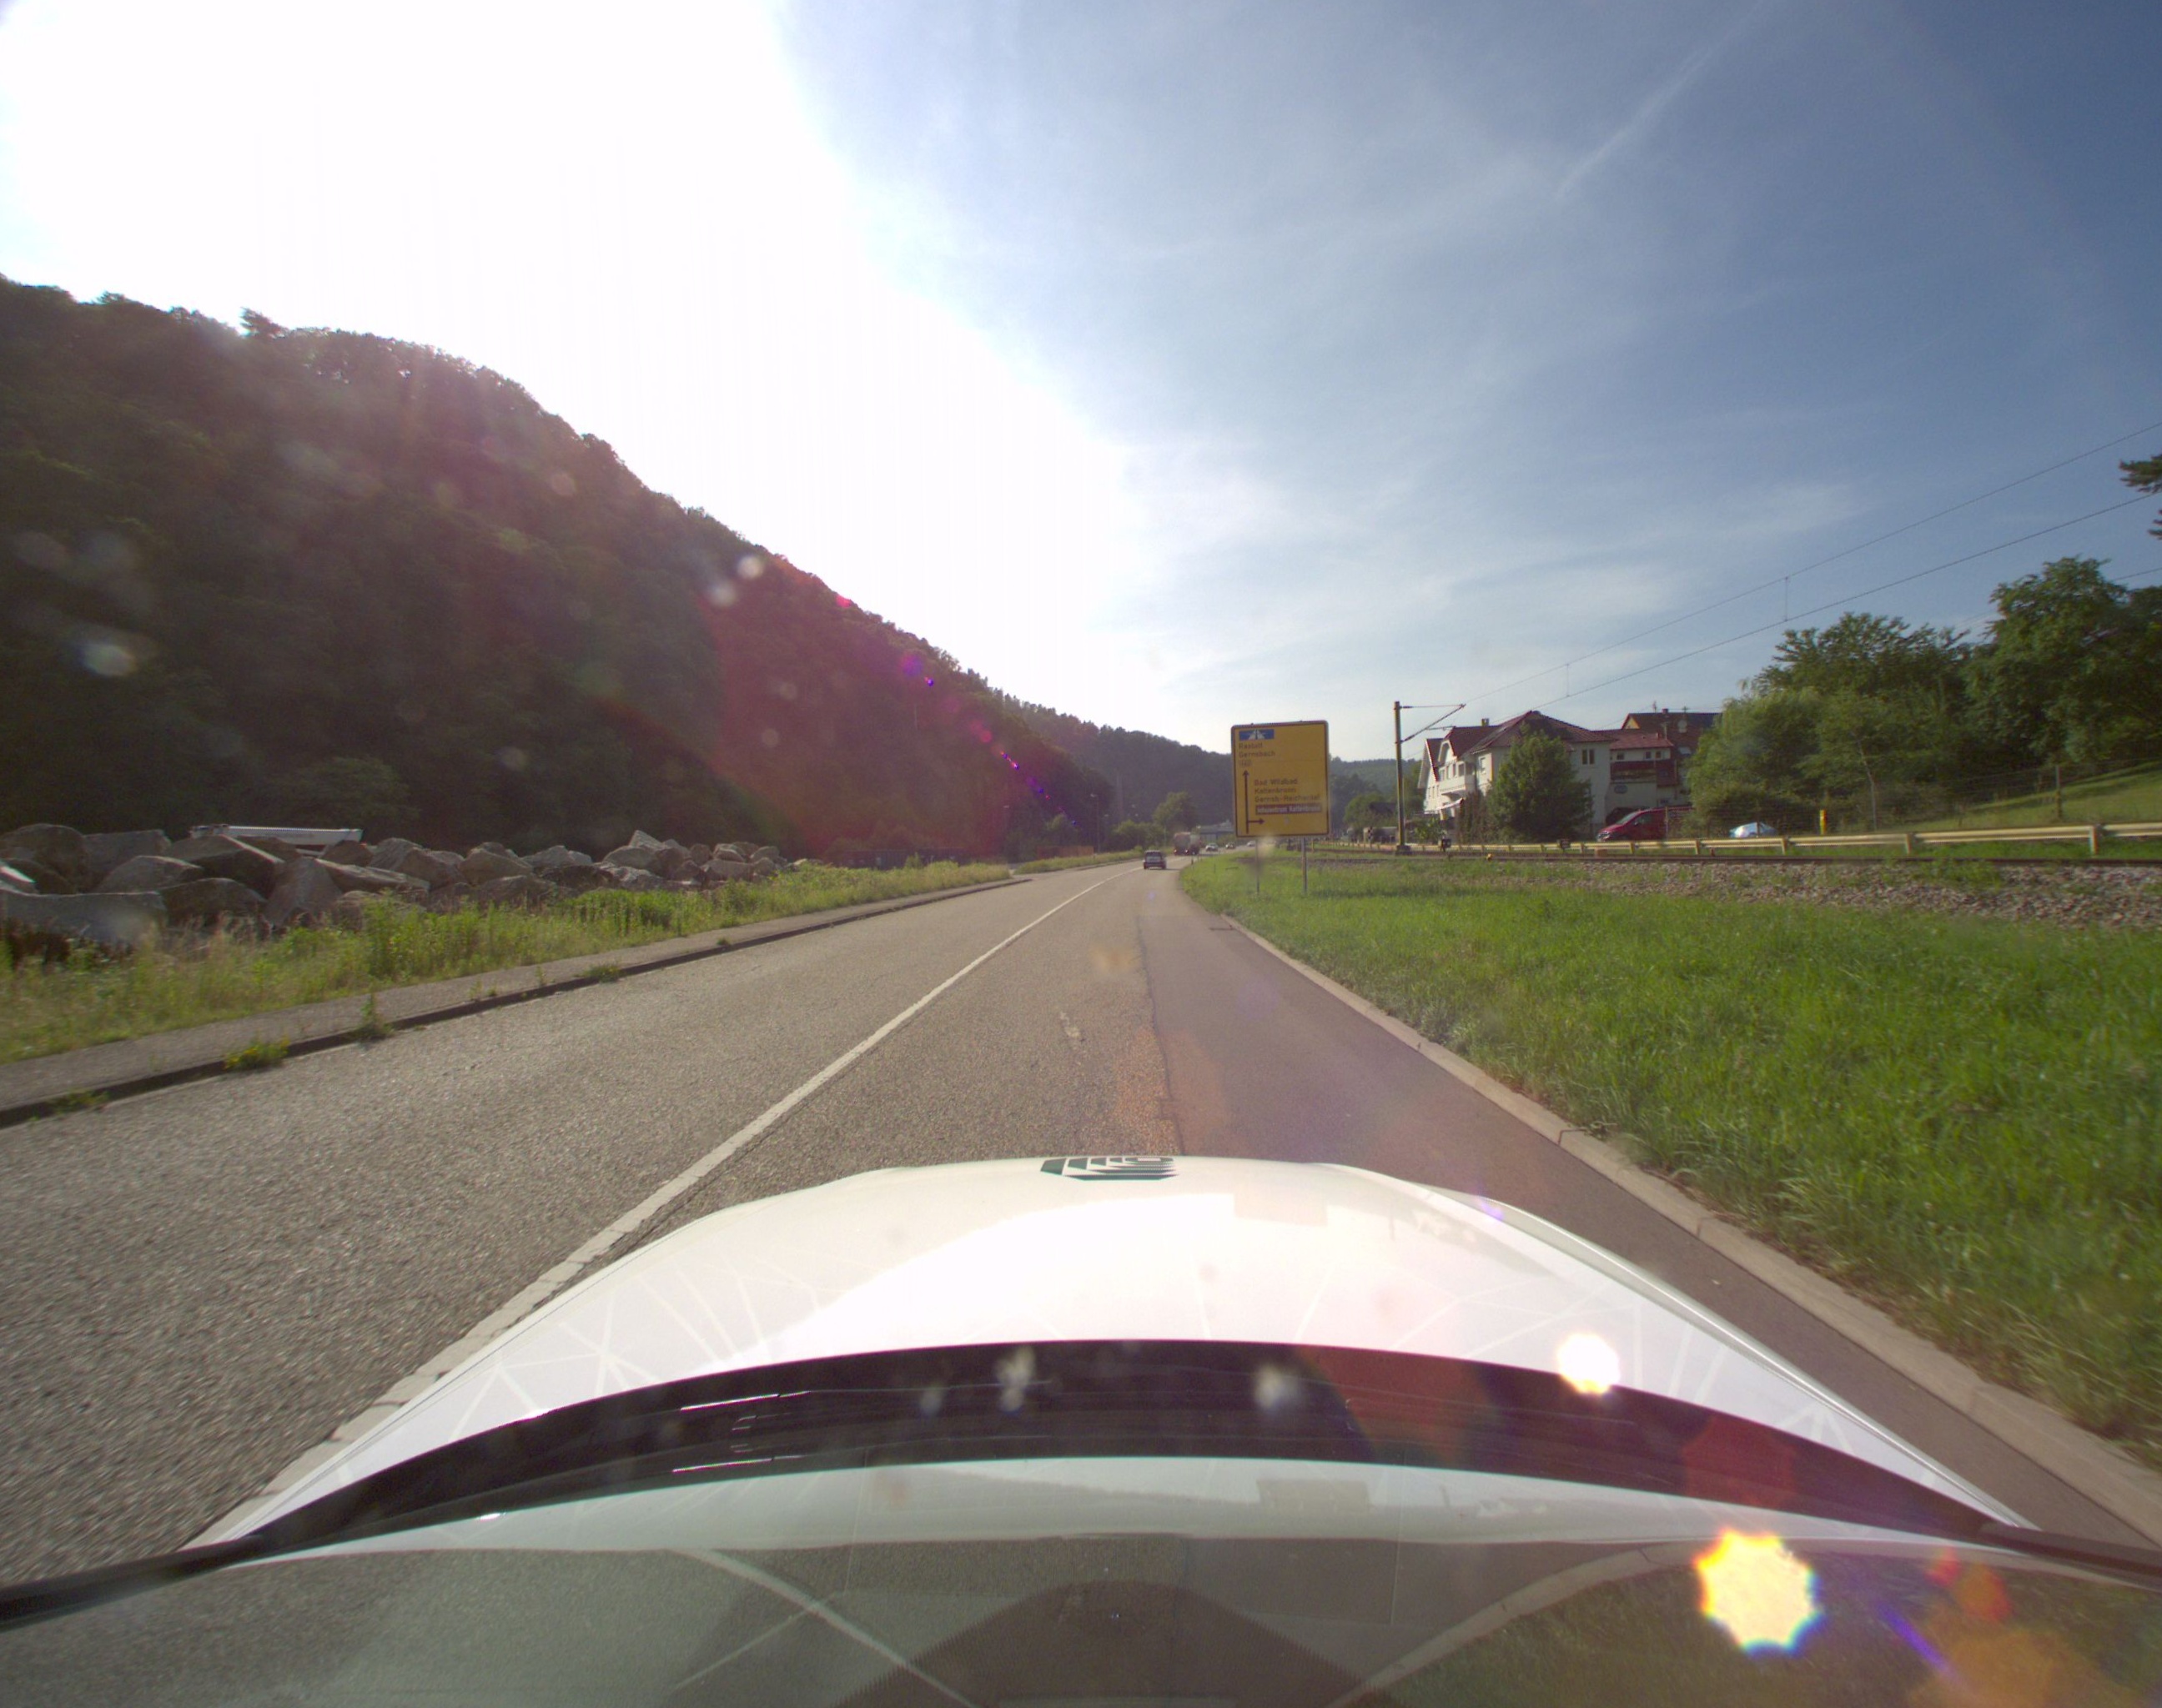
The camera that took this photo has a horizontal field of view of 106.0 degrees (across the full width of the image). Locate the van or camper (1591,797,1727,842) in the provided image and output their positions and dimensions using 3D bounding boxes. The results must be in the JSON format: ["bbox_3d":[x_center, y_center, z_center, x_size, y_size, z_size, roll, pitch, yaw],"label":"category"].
[{"bbox_3d":[30.366,-1.764,42.995,5.381,1.929,2.127,-4,0,11],"label":"van or camper"}]

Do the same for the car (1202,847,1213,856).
[{"bbox_3d":[26.214,-0.605,168.490,1.981,1.758,4.484,0,1,11],"label":"car"}]

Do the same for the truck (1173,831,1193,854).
[{"bbox_3d":[17.368,-1.964,138.223,2.732,3.835,8.224,0,1,11],"label":"truck"}]

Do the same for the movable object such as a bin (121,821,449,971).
[{"bbox_3d":[-25.000,1.160,26.389,2.890,3.947,7.803,-4,0,-2],"label":"movable object such as a bin"}]

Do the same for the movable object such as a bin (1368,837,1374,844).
[{"bbox_3d":[40.446,-1.885,113.620,0.801,1.050,0.915,0,1,15],"label":"movable object such as a bin"}]

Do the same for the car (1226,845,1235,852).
[{"bbox_3d":[34.402,-1.345,187.077,1.711,1.624,3.811,0,1,14],"label":"car"}]

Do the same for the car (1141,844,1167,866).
[{"bbox_3d":[6.396,0.053,71.022,1.983,1.723,3.998,-4,0,7],"label":"car"}]

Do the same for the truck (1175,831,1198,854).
[{"bbox_3d":[18.845,-2.041,144.671,2.731,3.835,14.613,0,1,13],"label":"truck"}]
